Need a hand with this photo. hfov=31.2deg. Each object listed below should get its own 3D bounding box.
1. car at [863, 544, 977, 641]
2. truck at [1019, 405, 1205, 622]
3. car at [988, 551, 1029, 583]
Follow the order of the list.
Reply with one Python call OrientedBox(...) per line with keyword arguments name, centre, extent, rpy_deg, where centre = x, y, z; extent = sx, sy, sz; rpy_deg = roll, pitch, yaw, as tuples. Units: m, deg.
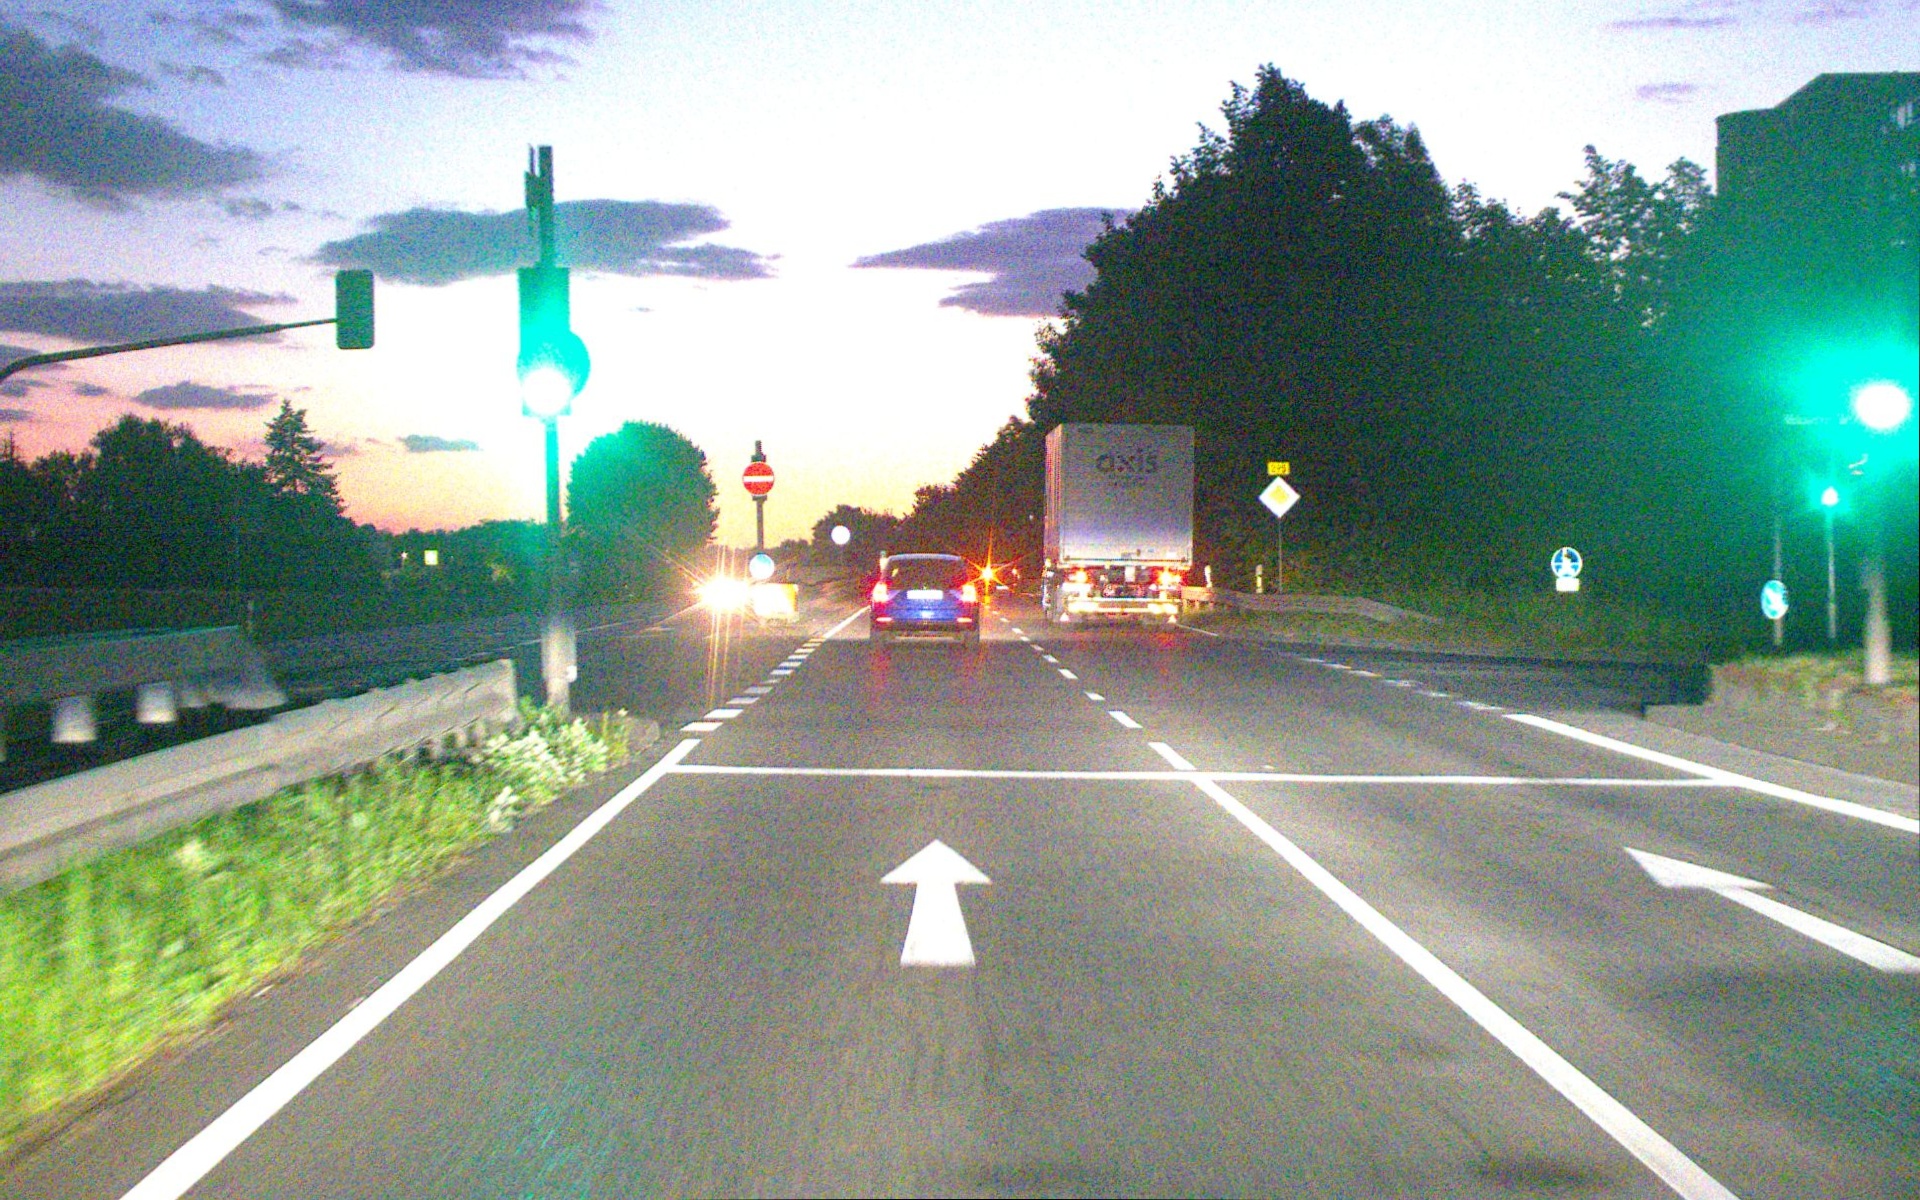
OrientedBox(name="car", centre=(-0.656, -0.142, 53.859), extent=(1.695, 1.447, 3.914), rpy_deg=(0, 1, -2))
OrientedBox(name="truck", centre=(2.996, -1.739, 71.587), extent=(2.883, 4.092, 12.685), rpy_deg=(0, 1, -2))
OrientedBox(name="car", centre=(2.254, -1.546, 160.860), extent=(1.695, 1.447, 3.914), rpy_deg=(0, 1, -2))
